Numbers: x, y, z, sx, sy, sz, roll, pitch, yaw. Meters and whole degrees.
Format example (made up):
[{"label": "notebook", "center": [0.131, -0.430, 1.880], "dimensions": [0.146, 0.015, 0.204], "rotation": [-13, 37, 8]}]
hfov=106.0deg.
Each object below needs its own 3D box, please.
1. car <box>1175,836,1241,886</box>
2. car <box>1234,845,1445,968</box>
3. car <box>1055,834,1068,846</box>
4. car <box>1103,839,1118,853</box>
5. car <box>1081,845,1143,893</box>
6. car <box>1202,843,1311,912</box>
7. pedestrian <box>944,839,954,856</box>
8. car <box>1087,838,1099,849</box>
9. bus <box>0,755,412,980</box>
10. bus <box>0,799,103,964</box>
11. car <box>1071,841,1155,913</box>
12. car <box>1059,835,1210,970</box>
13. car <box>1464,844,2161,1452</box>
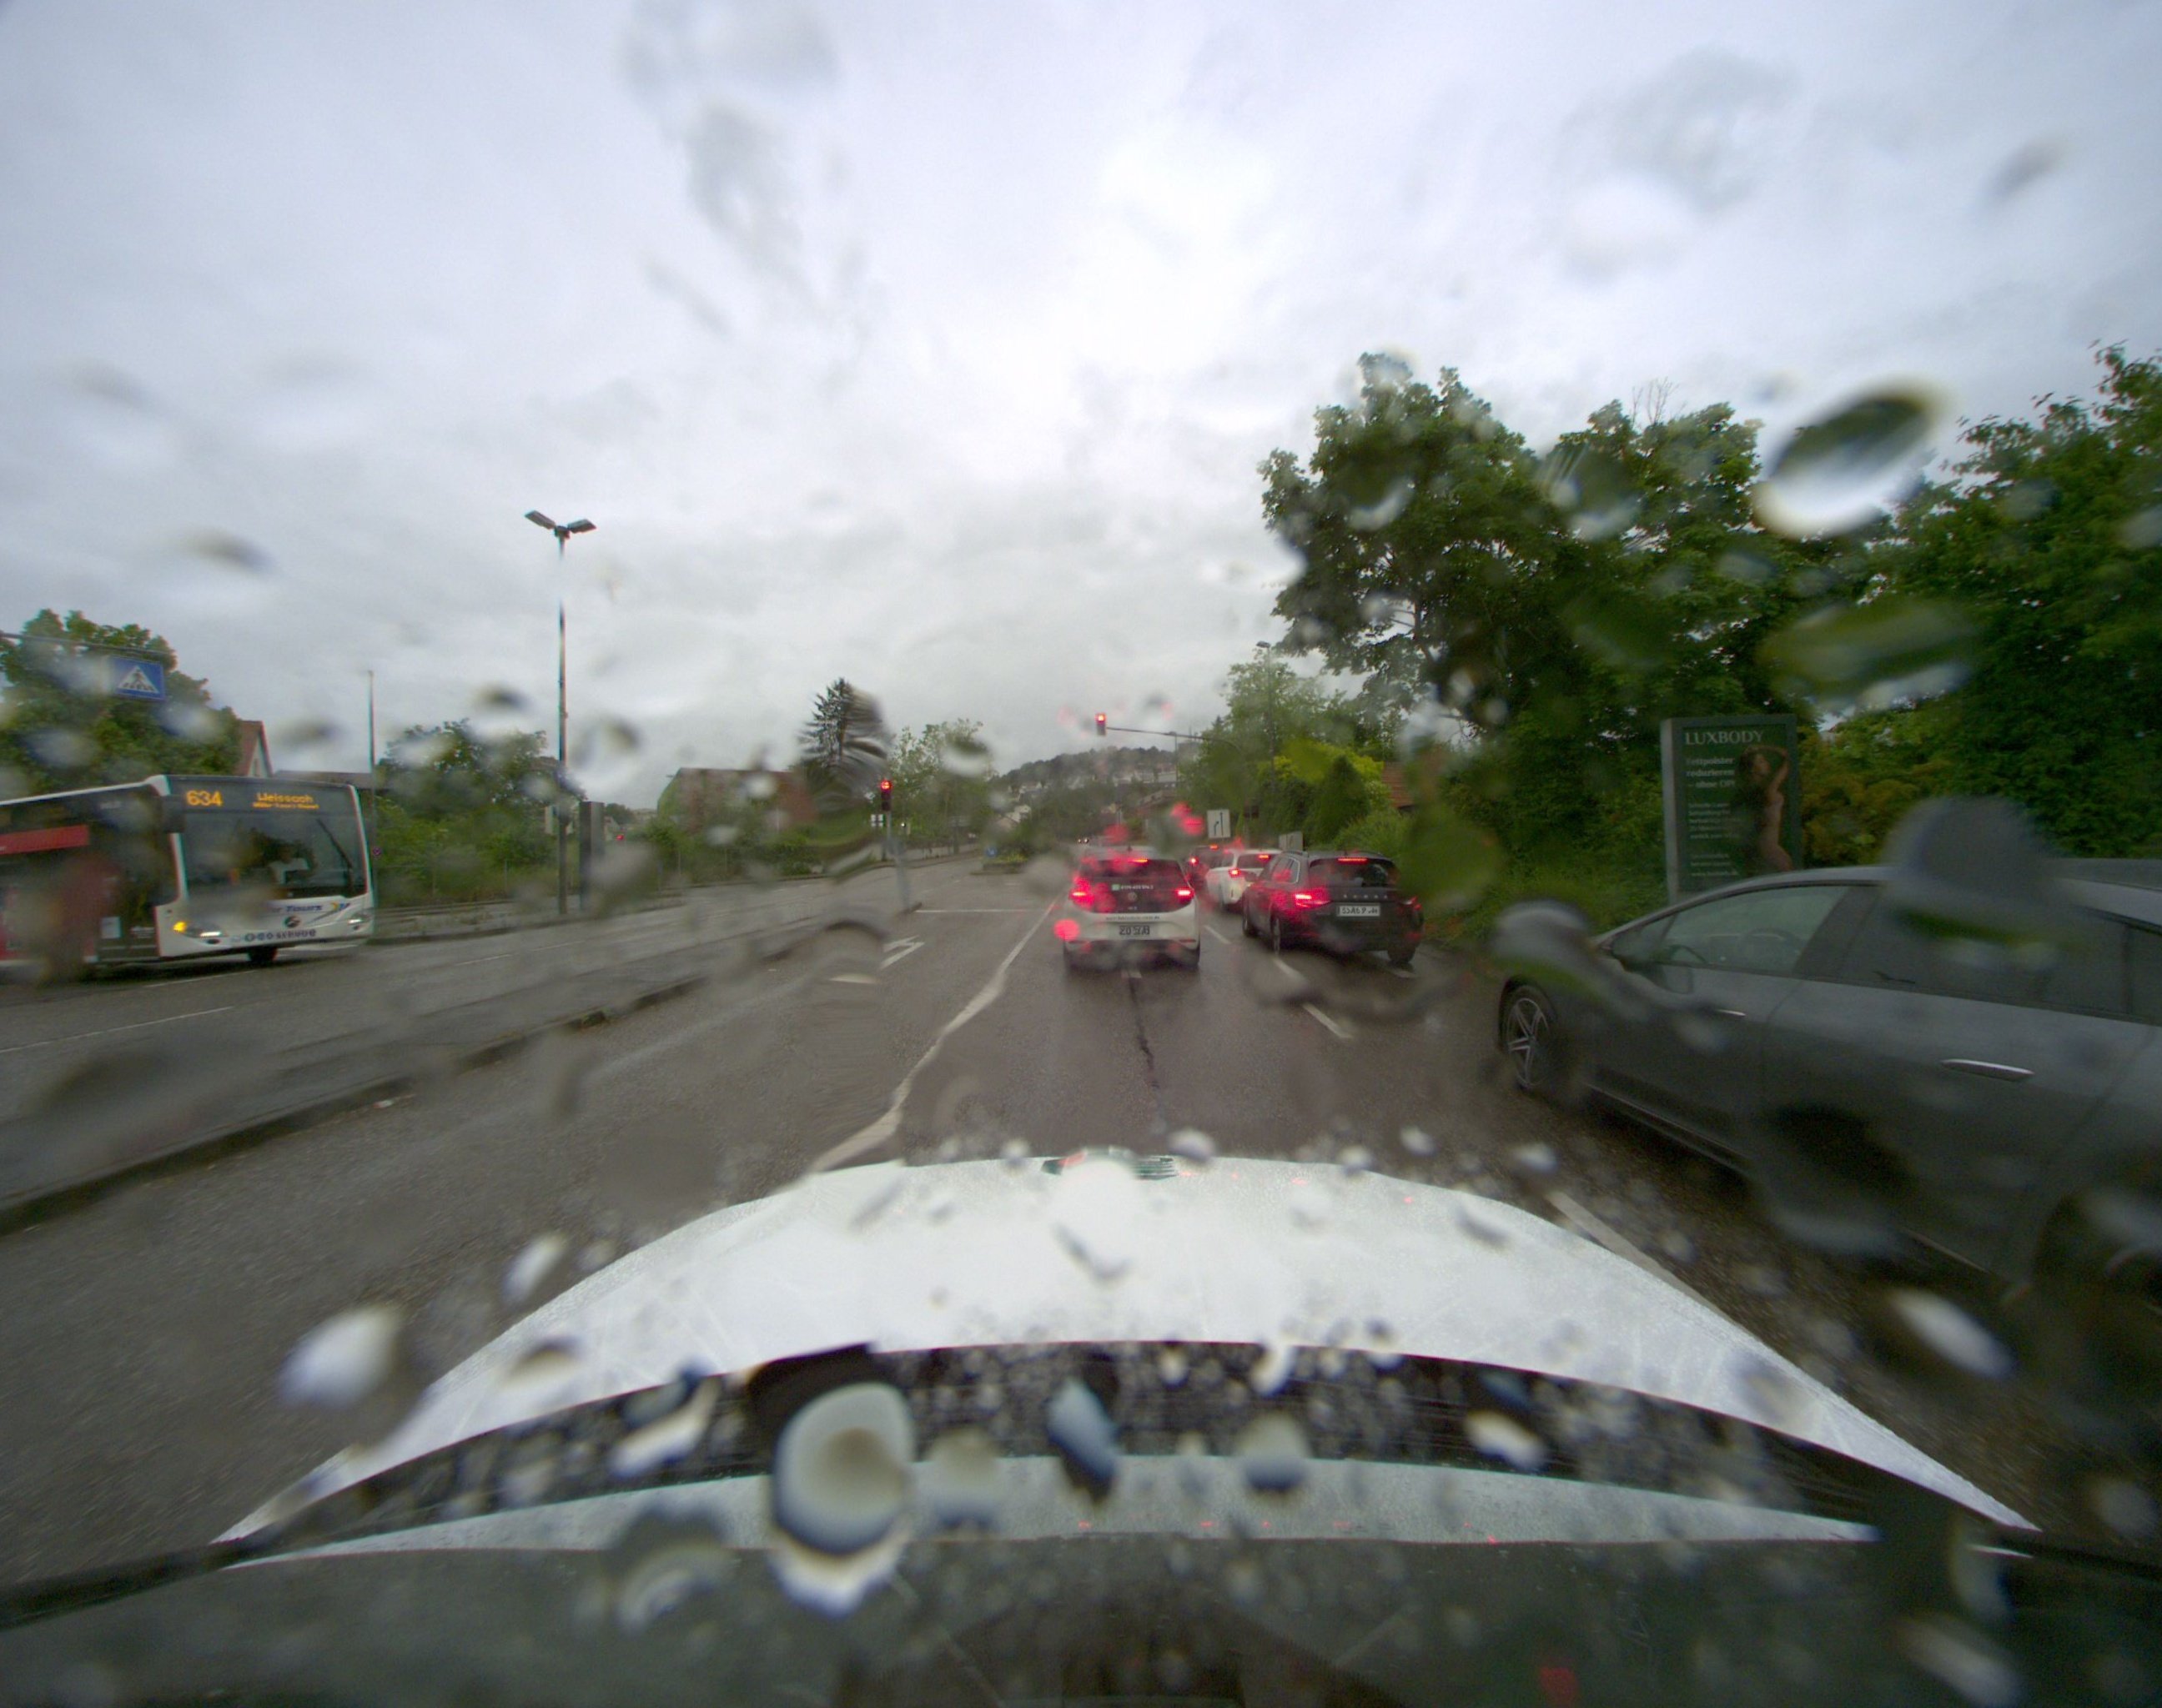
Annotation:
[{"label": "car", "center": [4.257, 0.215, 27.811], "dimensions": [1.768, 1.581, 4.002], "rotation": [0, 0, 2]}, {"label": "car", "center": [3.519, 0.613, 12.000], "dimensions": [1.831, 1.466, 4.351], "rotation": [0, 1, 1]}, {"label": "car", "center": [-3.504, -2.512, 145.166], "dimensions": [1.986, 2.014, 4.002], "rotation": [0, -1, 2]}, {"label": "car", "center": [3.591, -1.022, 99.924], "dimensions": [1.769, 1.581, 4.002], "rotation": [-3, 0, 2]}, {"label": "car", "center": [0.963, 0.433, 26.001], "dimensions": [1.831, 1.400, 3.832], "rotation": [0, 1, 1]}, {"label": "car", "center": [4.063, 0.485, 19.488], "dimensions": [1.831, 1.466, 4.118], "rotation": [0, 1, 1]}, {"label": "pedestrian", "center": [-12.757, -0.606, 78.686], "dimensions": [0.757, 1.568, 0.825], "rotation": [-4, 0, 1]}, {"label": "car", "center": [1.925, -1.679, 128.978], "dimensions": [1.769, 1.581, 4.002], "rotation": [-3, 0, 2]}, {"label": "bus", "center": [-16.158, 0.323, 13.823], "dimensions": [8.787, 3.114, 2.813], "rotation": [-2, 0, 16]}, {"label": "bus", "center": [-25.062, 0.675, 15.477], "dimensions": [9.309, 3.114, 2.785], "rotation": [-2, 0, -1]}, {"label": "car", "center": [0.747, 0.477, 19.780], "dimensions": [1.831, 1.554, 4.176], "rotation": [0, 1, 1]}, {"label": "car", "center": [0.708, 0.559, 12.195], "dimensions": [1.831, 1.629, 4.617], "rotation": [0, 1, 1]}, {"label": "car", "center": [3.568, 0.696, 3.351], "dimensions": [1.831, 1.466, 4.810], "rotation": [0, 1, 1]}]
